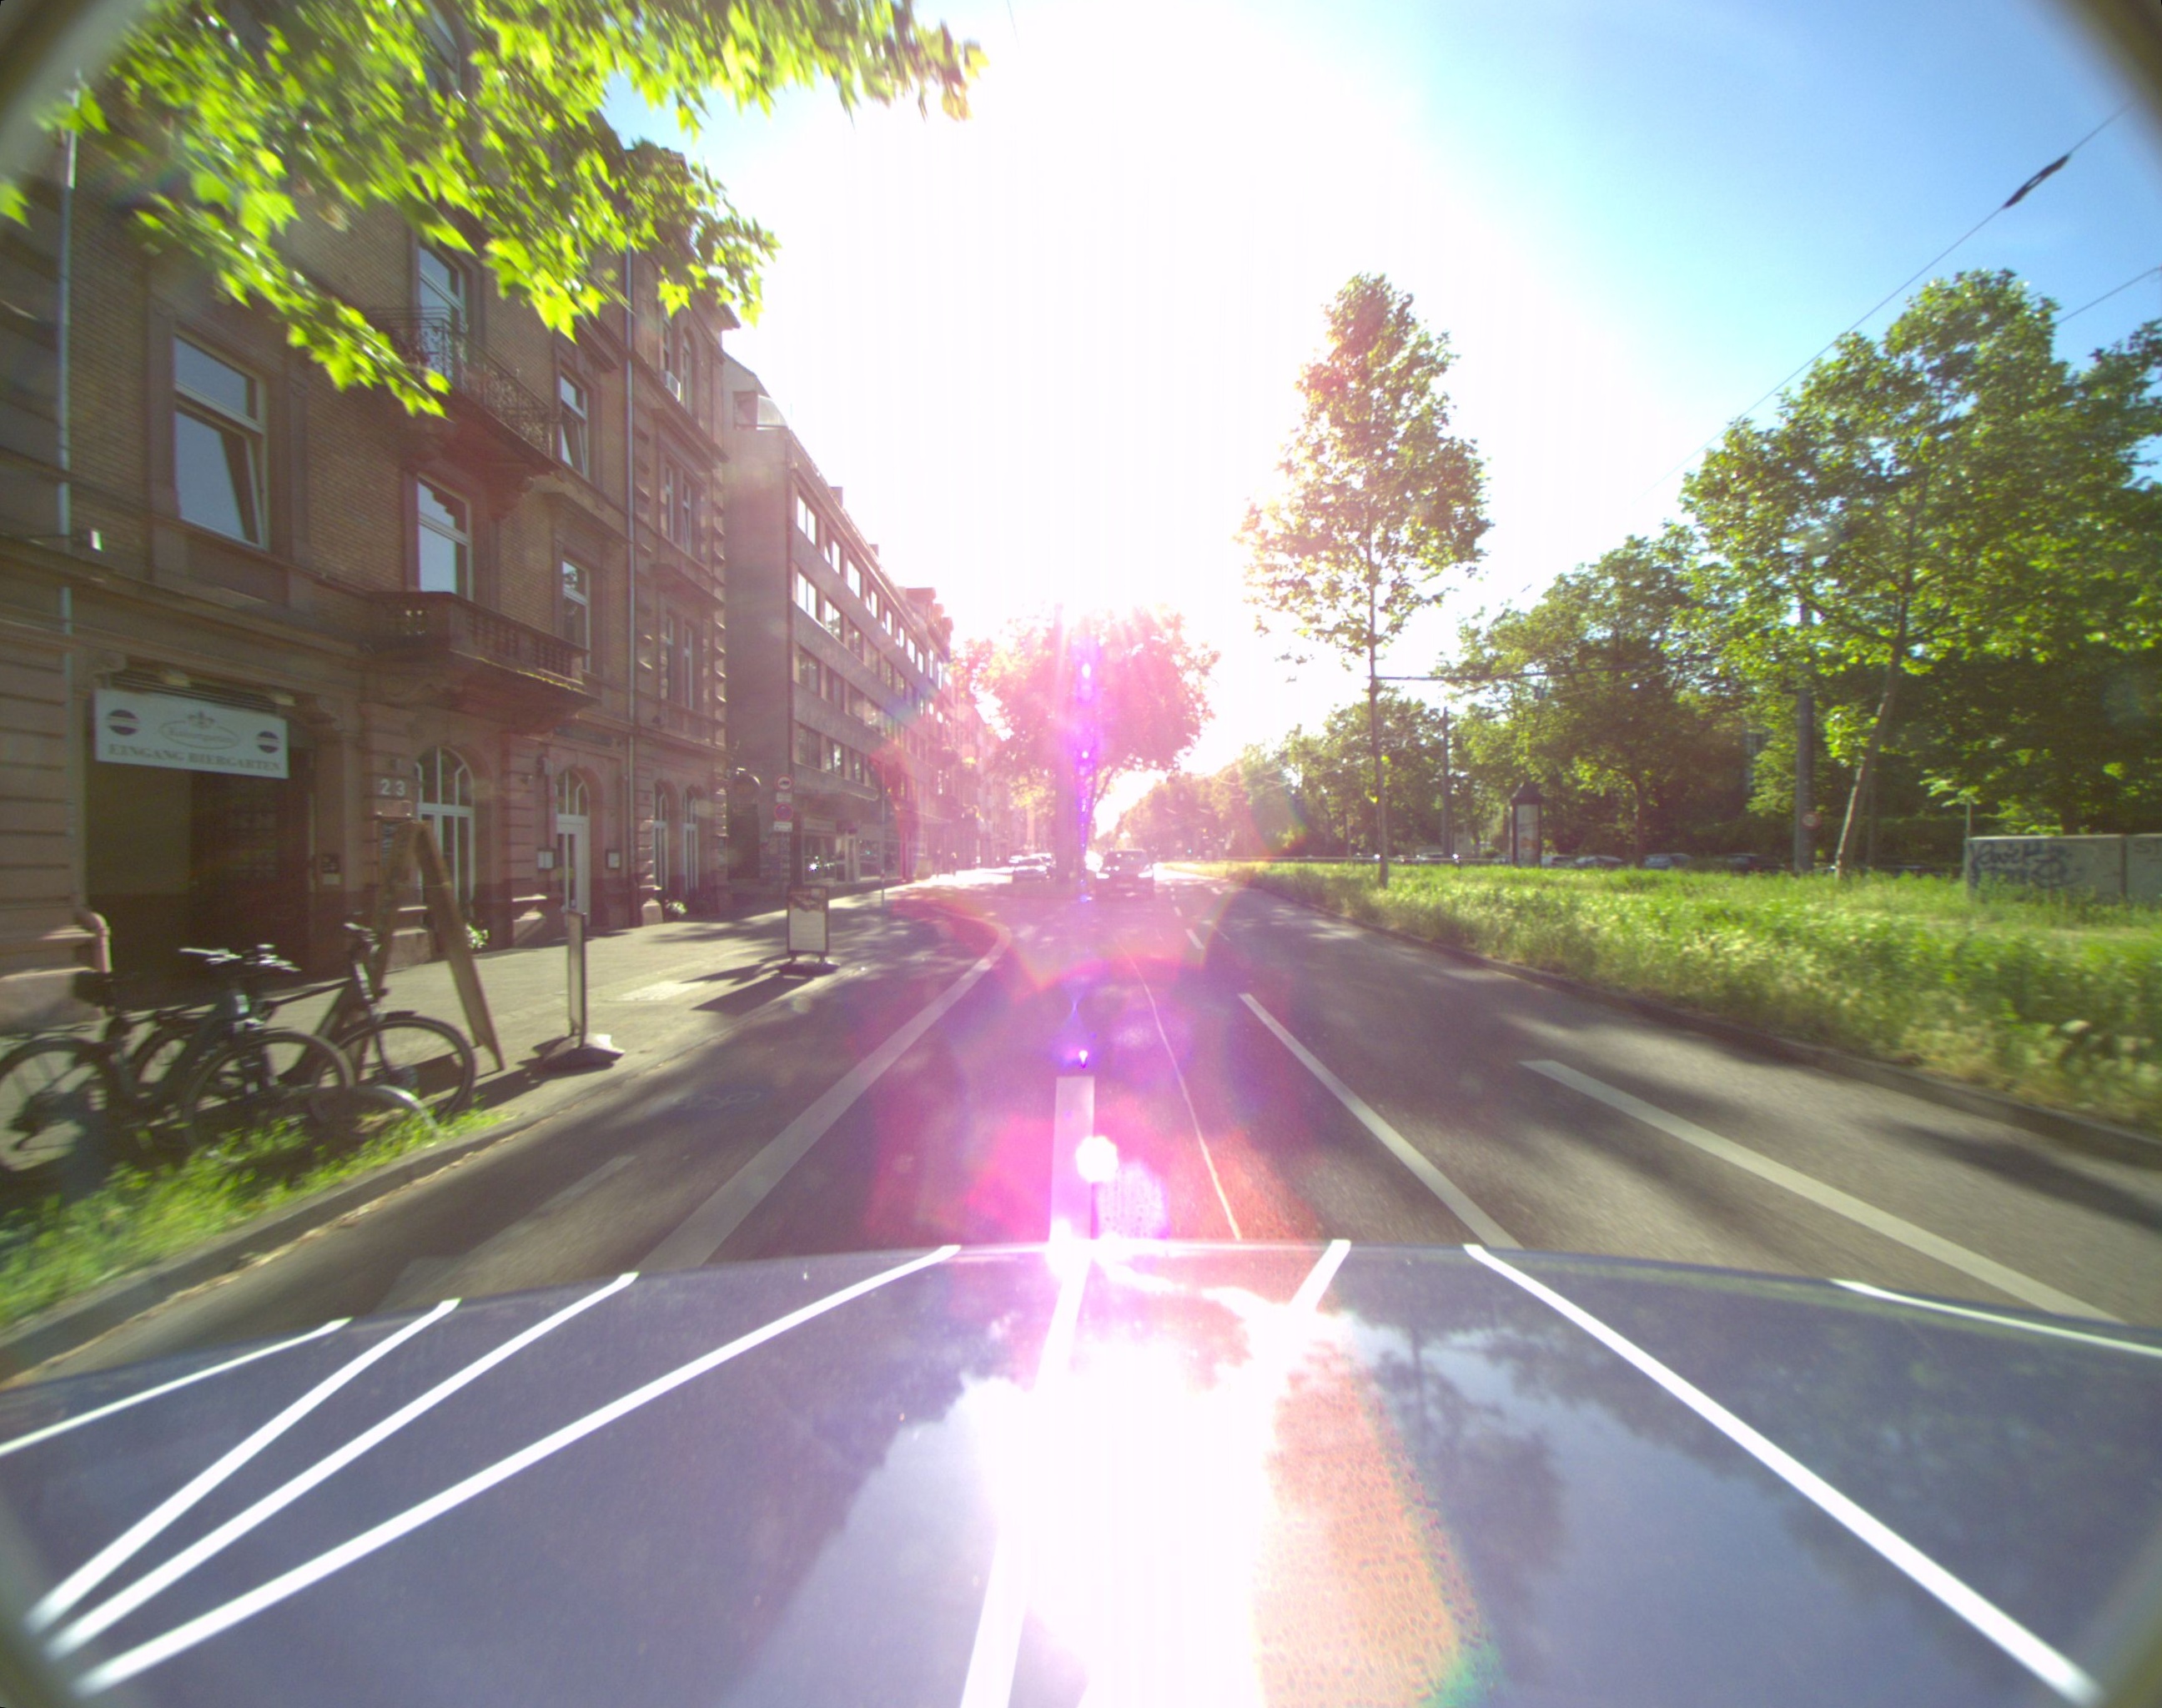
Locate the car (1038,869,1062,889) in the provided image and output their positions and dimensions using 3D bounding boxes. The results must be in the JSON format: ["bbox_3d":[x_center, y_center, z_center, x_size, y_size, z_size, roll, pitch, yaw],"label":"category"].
[{"bbox_3d":[-2.493,2.000,61.956,1.708,1.493,4.358,-3,-1,0],"label":"car"}]

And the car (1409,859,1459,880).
[{"bbox_3d":[30.409,1.382,65.604,1.999,1.673,4.514,-3,-1,-3],"label":"car"}]

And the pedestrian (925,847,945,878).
[{"bbox_3d":[-8.655,0.485,45.058,1.002,1.829,0.715,-1,0,2],"label":"pedestrian"}]

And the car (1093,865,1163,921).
[{"bbox_3d":[1.495,1.261,25.714,1.969,1.663,4.000,-3,-1,-1],"label":"car"}]

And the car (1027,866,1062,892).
[{"bbox_3d":[-2.277,1.541,48.551,1.810,1.481,4.920,-3,-1,1],"label":"car"}]

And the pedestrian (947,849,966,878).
[{"bbox_3d":[-7.829,0.602,47.988,1.002,1.750,0.715,-3,-1,0],"label":"pedestrian"}]

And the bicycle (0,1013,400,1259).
[{"bbox_3d":[-4.647,1.382,3.786,2.019,0.987,0.444,-3,-1,-2],"label":"bicycle"}]

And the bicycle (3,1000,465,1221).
[{"bbox_3d":[-4.692,1.406,4.278,2.009,0.987,0.444,-3,-1,-2],"label":"bicycle"}]

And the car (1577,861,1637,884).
[{"bbox_3d":[29.958,1.028,43.359,1.404,1.193,2.844,-1,0,-1],"label":"car"}]

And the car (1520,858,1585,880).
[{"bbox_3d":[30.046,0.956,48.556,1.773,1.304,3.781,-3,-1,0],"label":"car"}]

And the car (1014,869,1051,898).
[{"bbox_3d":[-2.589,1.578,41.253,1.705,1.415,4.517,-3,-1,-1],"label":"car"}]

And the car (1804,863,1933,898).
[{"bbox_3d":[30.121,0.970,29.201,1.410,1.221,3.359,-1,0,-2],"label":"car"}]

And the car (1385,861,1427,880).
[{"bbox_3d":[30.420,1.530,71.196,1.999,1.612,4.000,-3,-1,-3],"label":"car"}]

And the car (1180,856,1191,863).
[{"bbox_3d":[25.557,1.401,185.825,1.890,1.609,4.598,-3,-1,-1],"label":"car"}]

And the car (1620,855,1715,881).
[{"bbox_3d":[30.187,0.703,39.268,1.797,1.171,4.000,-3,0,-1],"label":"car"}]
